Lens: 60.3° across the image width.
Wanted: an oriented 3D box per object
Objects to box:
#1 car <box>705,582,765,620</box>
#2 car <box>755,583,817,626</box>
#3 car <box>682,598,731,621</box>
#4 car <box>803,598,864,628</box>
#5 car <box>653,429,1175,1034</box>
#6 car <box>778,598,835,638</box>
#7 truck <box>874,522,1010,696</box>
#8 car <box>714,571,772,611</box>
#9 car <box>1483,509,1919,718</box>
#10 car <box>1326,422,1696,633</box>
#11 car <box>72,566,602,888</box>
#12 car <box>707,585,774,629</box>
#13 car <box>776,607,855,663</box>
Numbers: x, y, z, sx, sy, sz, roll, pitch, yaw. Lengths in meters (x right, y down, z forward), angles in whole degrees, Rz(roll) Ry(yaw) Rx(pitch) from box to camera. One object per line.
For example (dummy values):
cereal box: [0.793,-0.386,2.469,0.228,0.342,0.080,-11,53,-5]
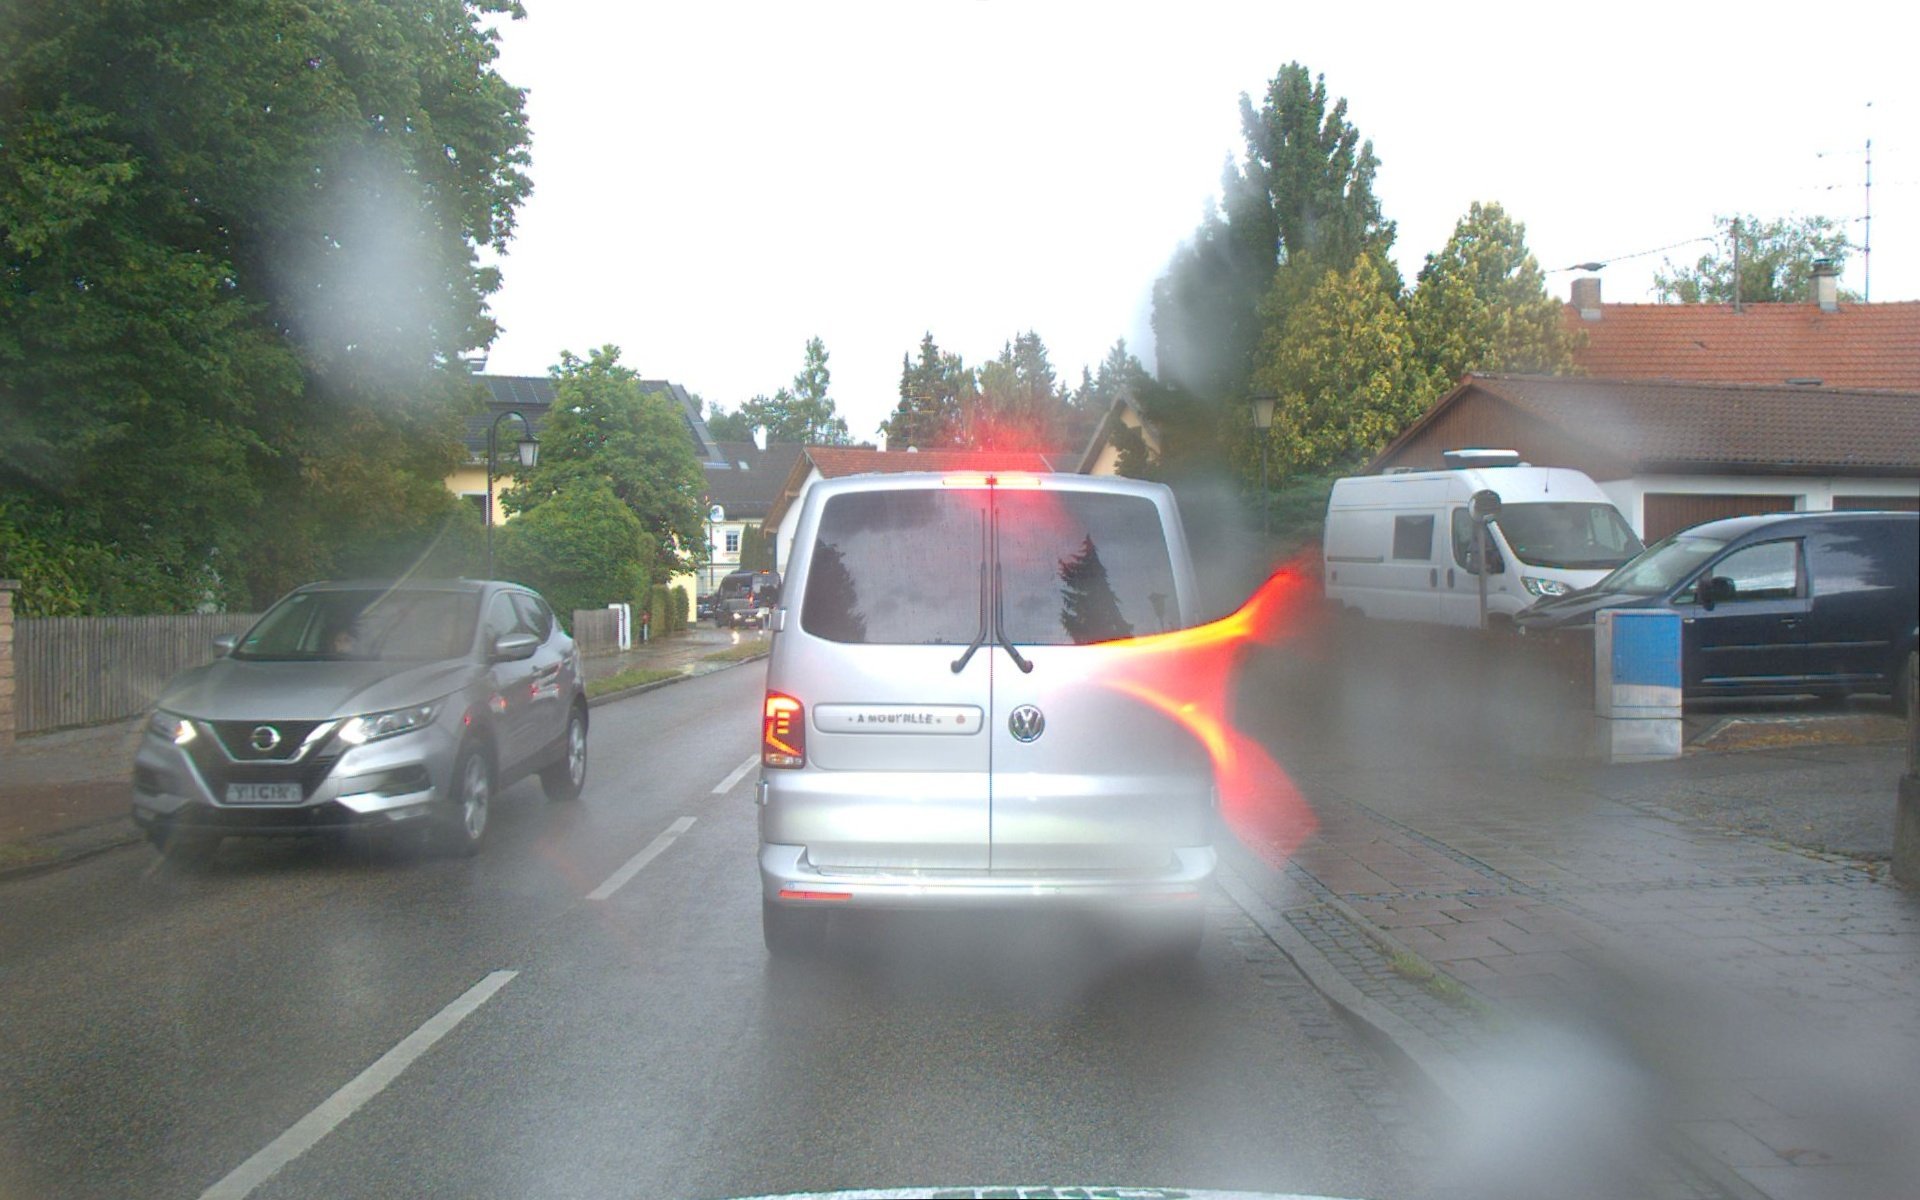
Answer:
car: [-12.022,0.061,88.268,1.969,1.961,3.966,2,-1,-26]
car: [-8.774,0.226,83.186,1.968,2.049,3.969,2,-1,-24]
car: [-15.196,0.567,99.138,1.760,1.333,3.741,2,-1,-28]
car: [-5.873,0.594,76.404,1.755,1.333,3.750,2,-1,-22]
car: [-0.103,0.474,7.732,1.763,2.049,4.000,1,-1,2]
car: [-5.542,0.655,60.190,1.744,1.333,3.775,1,-1,-1]
truck: [-0.394,0.199,33.552,2.425,3.128,6.294,1,-1,-1]
car: [-11.648,-0.466,88.511,1.968,2.049,3.969,2,-1,-25]
car: [7.114,0.074,15.314,4.013,1.782,1.693,-1,2,-5]
car: [6.538,-0.762,20.334,1.960,2.211,4.934,2,-1,-14]
car: [-3.569,0.657,10.372,1.790,1.586,4.176,-1,-1,-1]
car: [-10.542,0.330,79.231,1.970,2.049,3.964,2,-1,-27]
car: [-3.708,0.892,43.057,1.744,1.333,3.775,1,-1,-1]
